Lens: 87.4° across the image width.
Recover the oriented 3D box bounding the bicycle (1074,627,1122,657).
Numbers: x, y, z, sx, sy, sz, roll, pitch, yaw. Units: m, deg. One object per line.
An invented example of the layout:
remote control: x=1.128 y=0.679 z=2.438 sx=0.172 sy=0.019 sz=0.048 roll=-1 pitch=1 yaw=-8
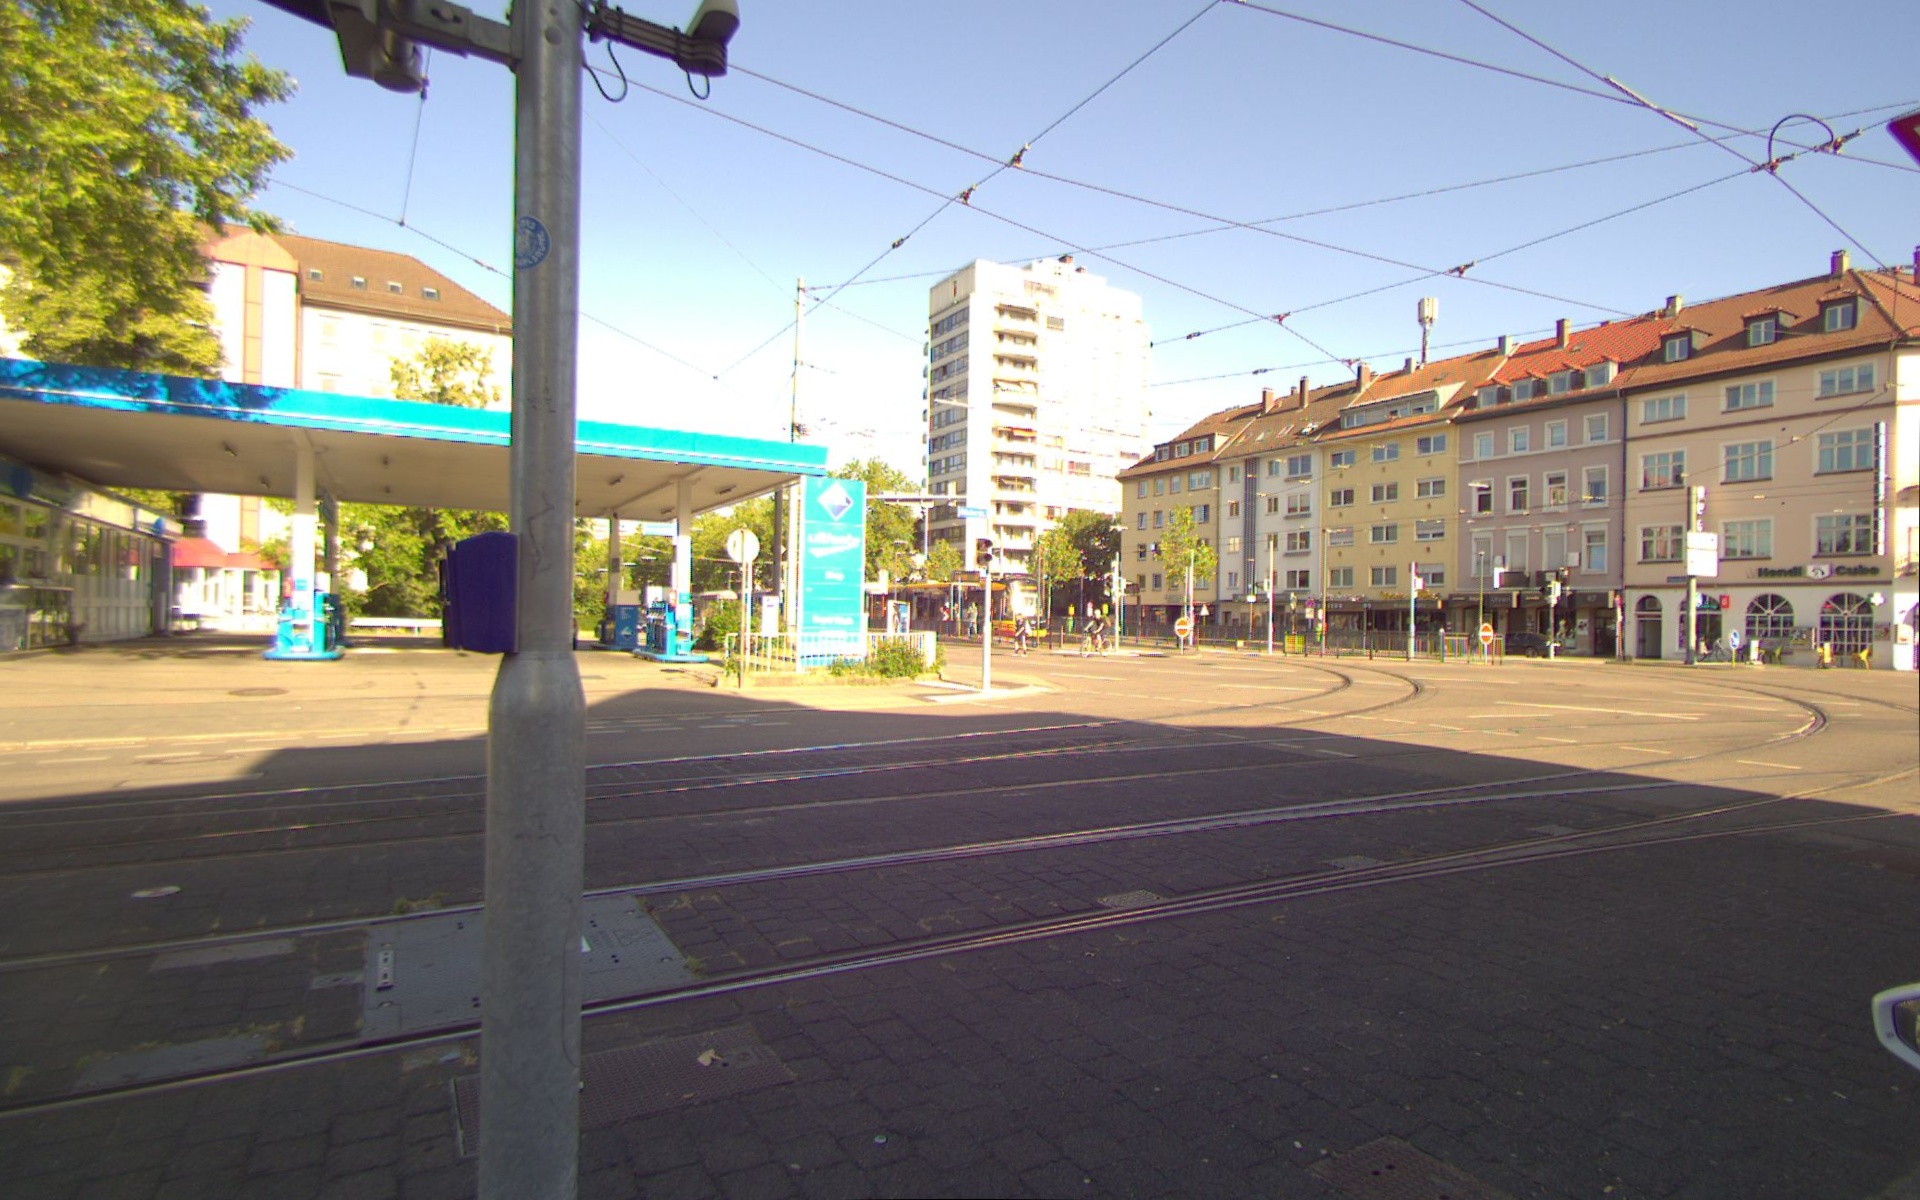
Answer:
bicycle: x=5.092 y=1.546 z=37.056 sx=1.773 sy=1.084 sz=0.570 roll=2 pitch=0 yaw=-29

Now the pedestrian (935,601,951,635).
pedestrian: x=-0.972 y=1.006 z=56.802 sx=0.666 sy=1.913 sz=0.520 roll=2 pitch=0 yaw=-31

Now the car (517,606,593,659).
car: x=-12.162 y=0.945 z=30.030 sx=1.764 sy=1.411 sz=3.455 roll=2 pitch=0 yaw=-28

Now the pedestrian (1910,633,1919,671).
pedestrian: x=41.483 y=2.239 z=43.328 sx=0.460 sy=1.633 sz=0.629 roll=2 pitch=0 yaw=-33

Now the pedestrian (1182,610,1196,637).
pedestrian: x=13.908 y=1.417 z=60.960 sx=0.570 sy=1.649 sz=0.522 roll=2 pitch=0 yaw=-31

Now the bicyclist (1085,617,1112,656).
bicyclist: x=5.097 y=1.347 z=37.038 sx=0.793 sy=1.384 sz=0.556 roll=2 pitch=0 yaw=-29

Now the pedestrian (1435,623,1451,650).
pedestrian: x=30.040 y=2.264 z=62.467 sx=0.693 sy=1.656 sz=0.629 roll=2 pitch=0 yaw=-33

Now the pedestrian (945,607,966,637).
pedestrian: x=-0.239 y=1.152 z=52.832 sx=0.814 sy=1.532 sz=0.699 roll=1 pitch=-1 yaw=-33

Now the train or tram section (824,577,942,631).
train or tram section: x=-5.494 y=0.203 z=68.019 sx=2.751 sy=3.273 sz=12.286 roll=2 pitch=0 yaw=-31

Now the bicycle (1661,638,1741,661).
bicycle: x=37.502 y=2.497 z=50.901 sx=0.989 sy=0.993 sz=3.115 roll=2 pitch=0 yaw=-29

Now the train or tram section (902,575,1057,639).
train or tram section: x=0.738 y=0.330 z=57.557 sx=2.751 sy=3.273 sz=12.286 roll=2 pitch=0 yaw=-31

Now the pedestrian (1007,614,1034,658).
pedestrian: x=2.309 y=1.378 z=38.340 sx=0.675 sy=1.656 sz=0.694 roll=2 pitch=0 yaw=-35

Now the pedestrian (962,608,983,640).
pedestrian: x=0.654 y=1.228 z=51.142 sx=0.814 sy=1.608 sz=0.699 roll=1 pitch=-1 yaw=-33

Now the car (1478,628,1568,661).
car: x=30.858 y=2.422 z=55.145 sx=1.970 sy=1.692 sz=3.981 roll=1 pitch=-1 yaw=-21
